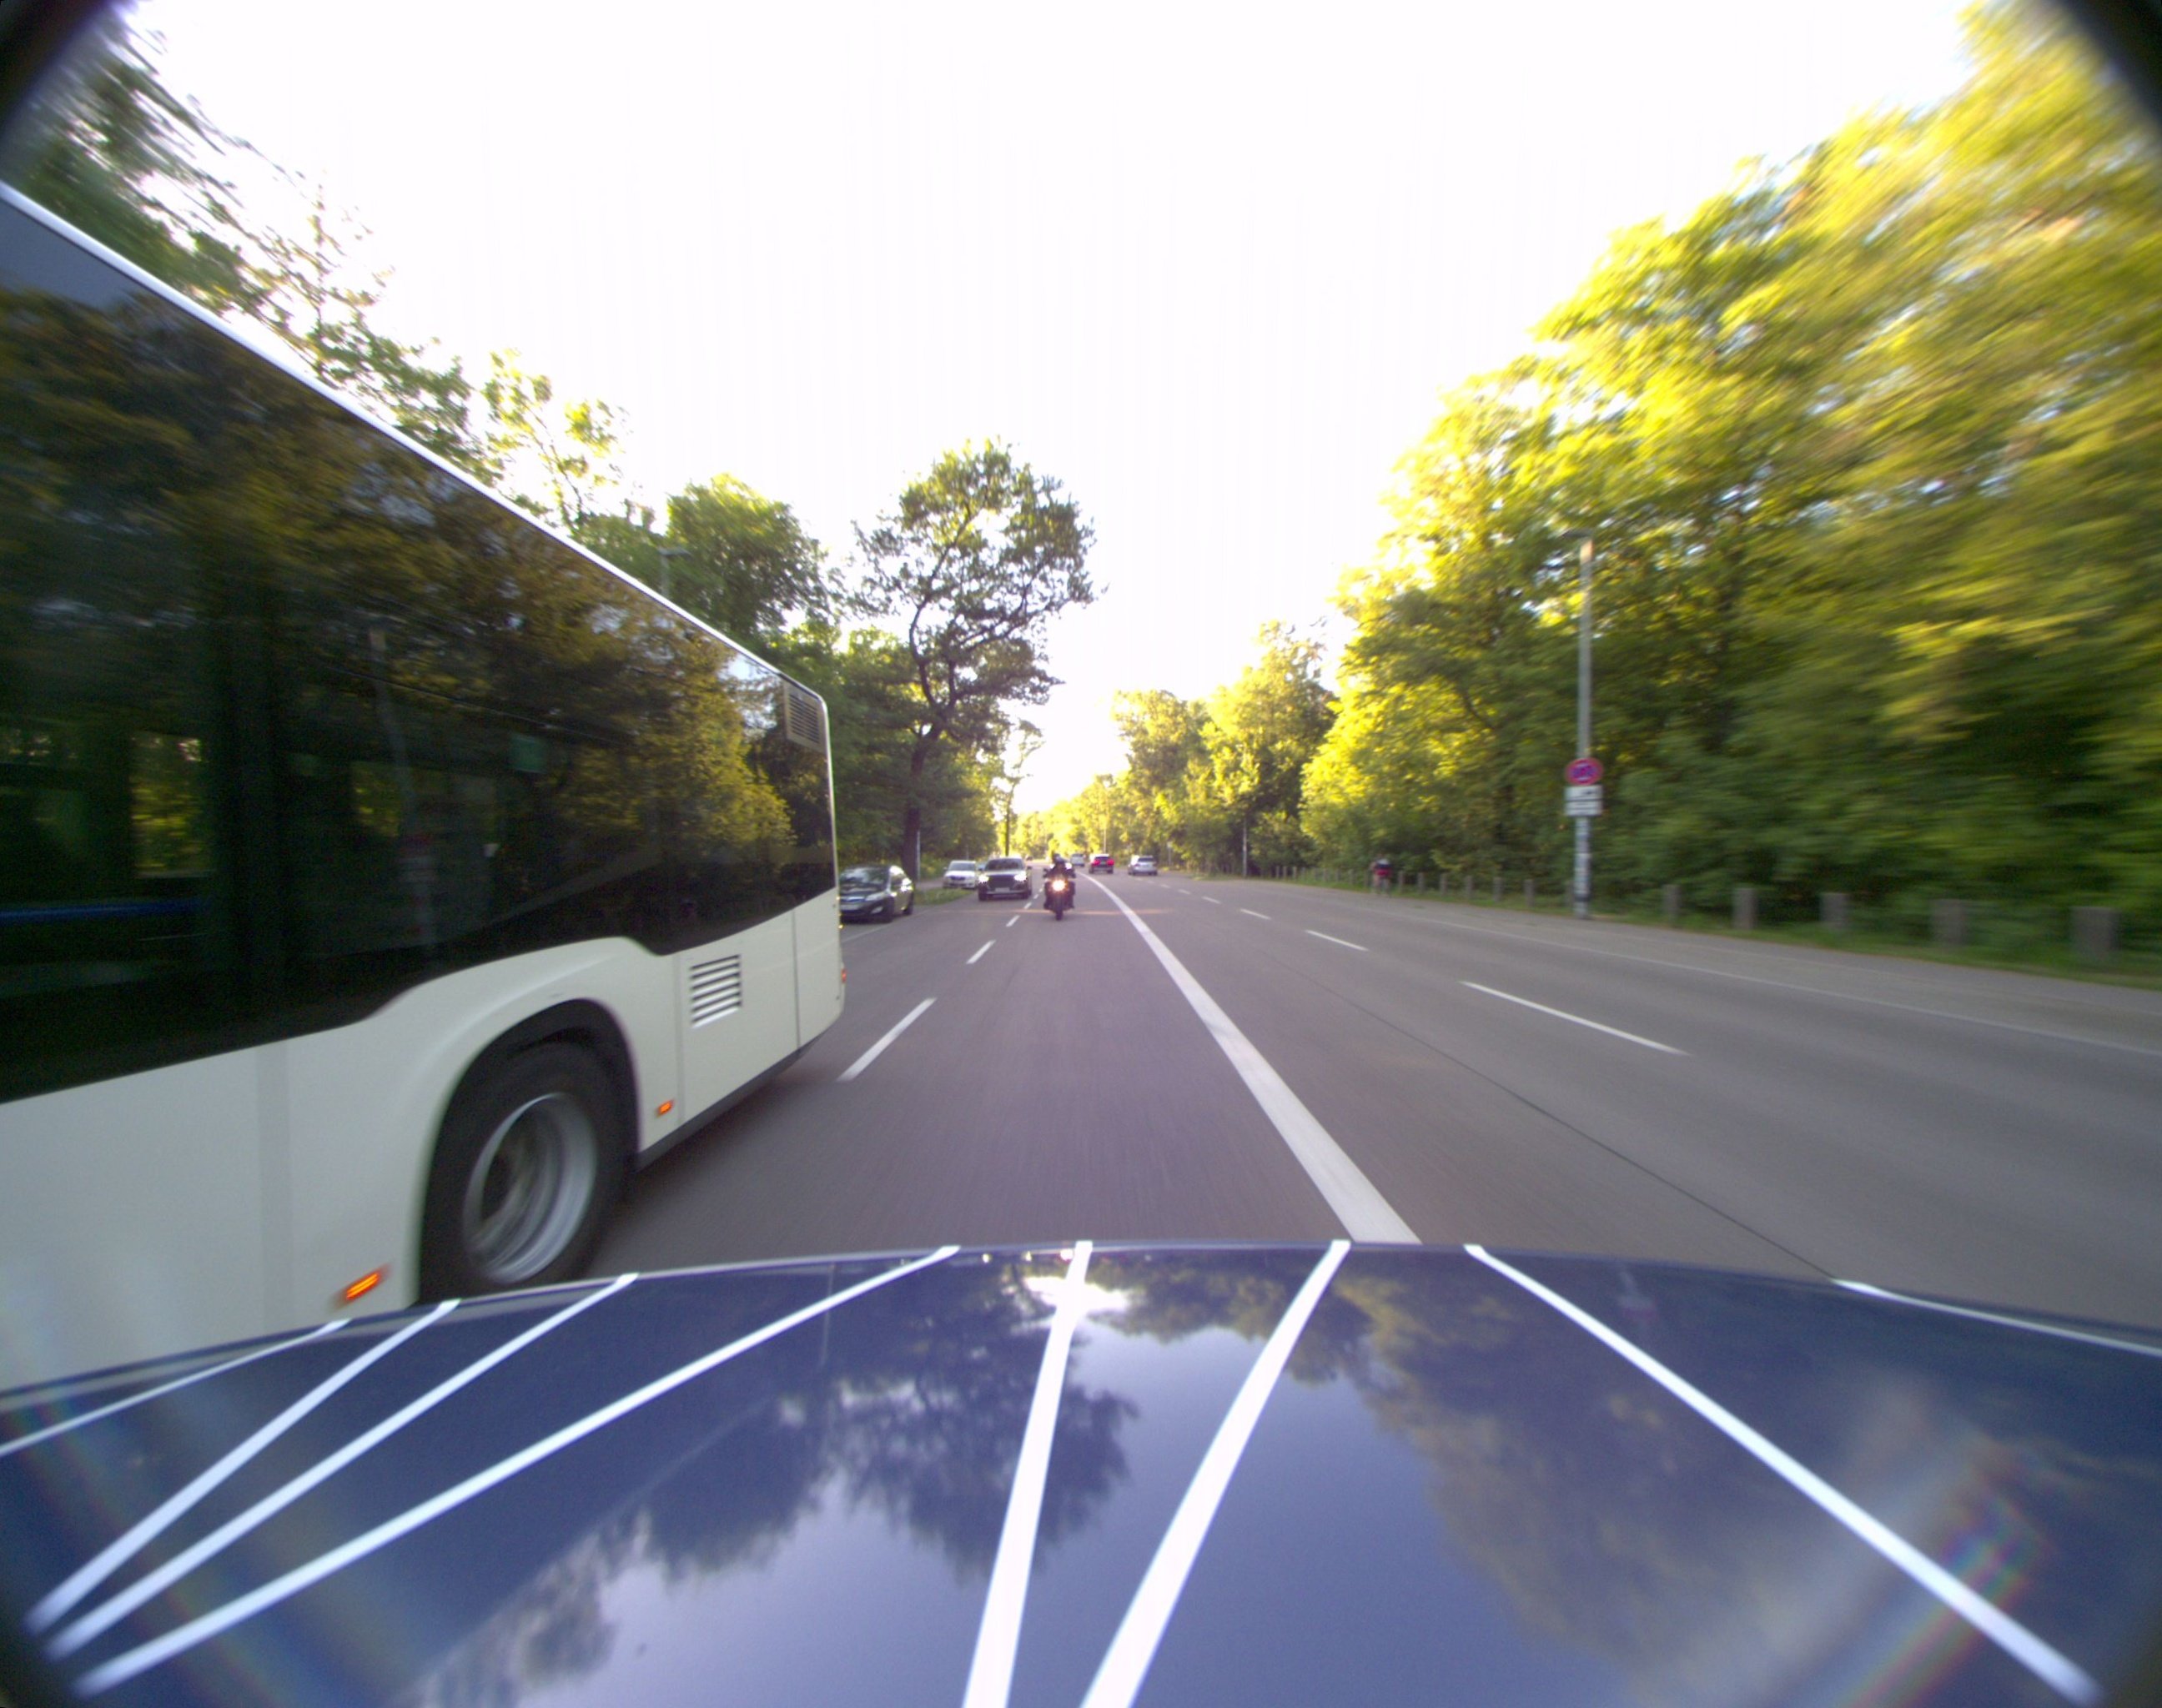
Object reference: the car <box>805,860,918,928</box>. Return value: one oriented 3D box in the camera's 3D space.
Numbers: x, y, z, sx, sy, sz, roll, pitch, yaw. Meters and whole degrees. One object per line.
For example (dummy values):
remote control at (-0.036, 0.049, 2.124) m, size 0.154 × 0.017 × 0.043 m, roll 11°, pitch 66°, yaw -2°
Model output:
car at (-5.748, 0.998, 20.406) m, size 1.999 × 1.548 × 4.097 m, roll 2°, pitch 0°, yaw -3°

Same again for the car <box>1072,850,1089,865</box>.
car at (-0.100, 0.396, 103.976) m, size 2.212 × 1.949 × 4.912 m, roll -1°, pitch 0°, yaw -2°

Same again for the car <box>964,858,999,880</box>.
car at (-6.699, 0.972, 51.553) m, size 1.858 × 1.384 × 4.521 m, roll 2°, pitch 0°, yaw -1°

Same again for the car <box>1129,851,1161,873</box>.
car at (4.850, 0.586, 58.338) m, size 1.903 × 1.523 × 4.528 m, roll -1°, pitch 0°, yaw -2°

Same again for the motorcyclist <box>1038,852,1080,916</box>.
motorcyclist at (-0.535, 0.738, 19.197) m, size 0.953 × 1.523 × 1.074 m, roll -2°, pitch 1°, yaw 0°

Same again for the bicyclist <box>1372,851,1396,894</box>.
bicyclist at (10.584, 0.628, 26.535) m, size 0.500 × 1.475 × 0.761 m, roll 1°, pitch 1°, yaw 0°

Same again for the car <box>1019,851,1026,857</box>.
car at (-17.940, -0.122, 234.291) m, size 1.912 × 1.746 × 4.797 m, roll -1°, pitch 0°, yaw -6°

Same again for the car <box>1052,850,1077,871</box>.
car at (-1.413, 0.564, 66.812) m, size 1.998 × 1.761 × 4.232 m, roll -1°, pitch 0°, yaw 2°

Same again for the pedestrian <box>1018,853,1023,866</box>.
pedestrian at (-8.294, 0.782, 104.713) m, size 0.513 × 1.746 × 0.734 m, roll 0°, pitch 0°, yaw -18°

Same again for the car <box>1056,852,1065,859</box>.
car at (-4.517, 0.310, 167.026) m, size 1.828 × 1.454 × 4.922 m, roll -1°, pitch 0°, yaw -4°

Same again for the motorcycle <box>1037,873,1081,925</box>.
motorcycle at (-0.521, 1.103, 19.558) m, size 0.956 × 1.098 × 3.339 m, roll -3°, pitch 0°, yaw 0°

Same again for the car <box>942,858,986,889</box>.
car at (-6.025, 0.973, 39.484) m, size 1.732 × 1.502 × 4.169 m, roll 1°, pitch 0°, yaw -2°

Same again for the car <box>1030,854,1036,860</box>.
car at (-13.319, 0.740, 211.100) m, size 1.810 × 1.536 × 4.088 m, roll -1°, pitch 0°, yaw -4°

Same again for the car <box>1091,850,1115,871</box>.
car at (1.883, 0.551, 65.245) m, size 1.923 × 1.694 × 4.442 m, roll -1°, pitch 0°, yaw 0°

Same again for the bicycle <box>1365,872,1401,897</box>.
bicycle at (10.586, 1.049, 26.672) m, size 0.496 × 0.809 × 1.808 m, roll 2°, pitch 0°, yaw -1°

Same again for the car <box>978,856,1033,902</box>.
car at (-2.879, 0.912, 29.838) m, size 1.861 × 1.608 × 3.999 m, roll -2°, pitch 0°, yaw -2°

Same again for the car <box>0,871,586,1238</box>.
car at (-5.925, 0.984, 5.465) m, size 1.843 × 1.565 × 4.458 m, roll -1°, pitch 0°, yaw -1°
